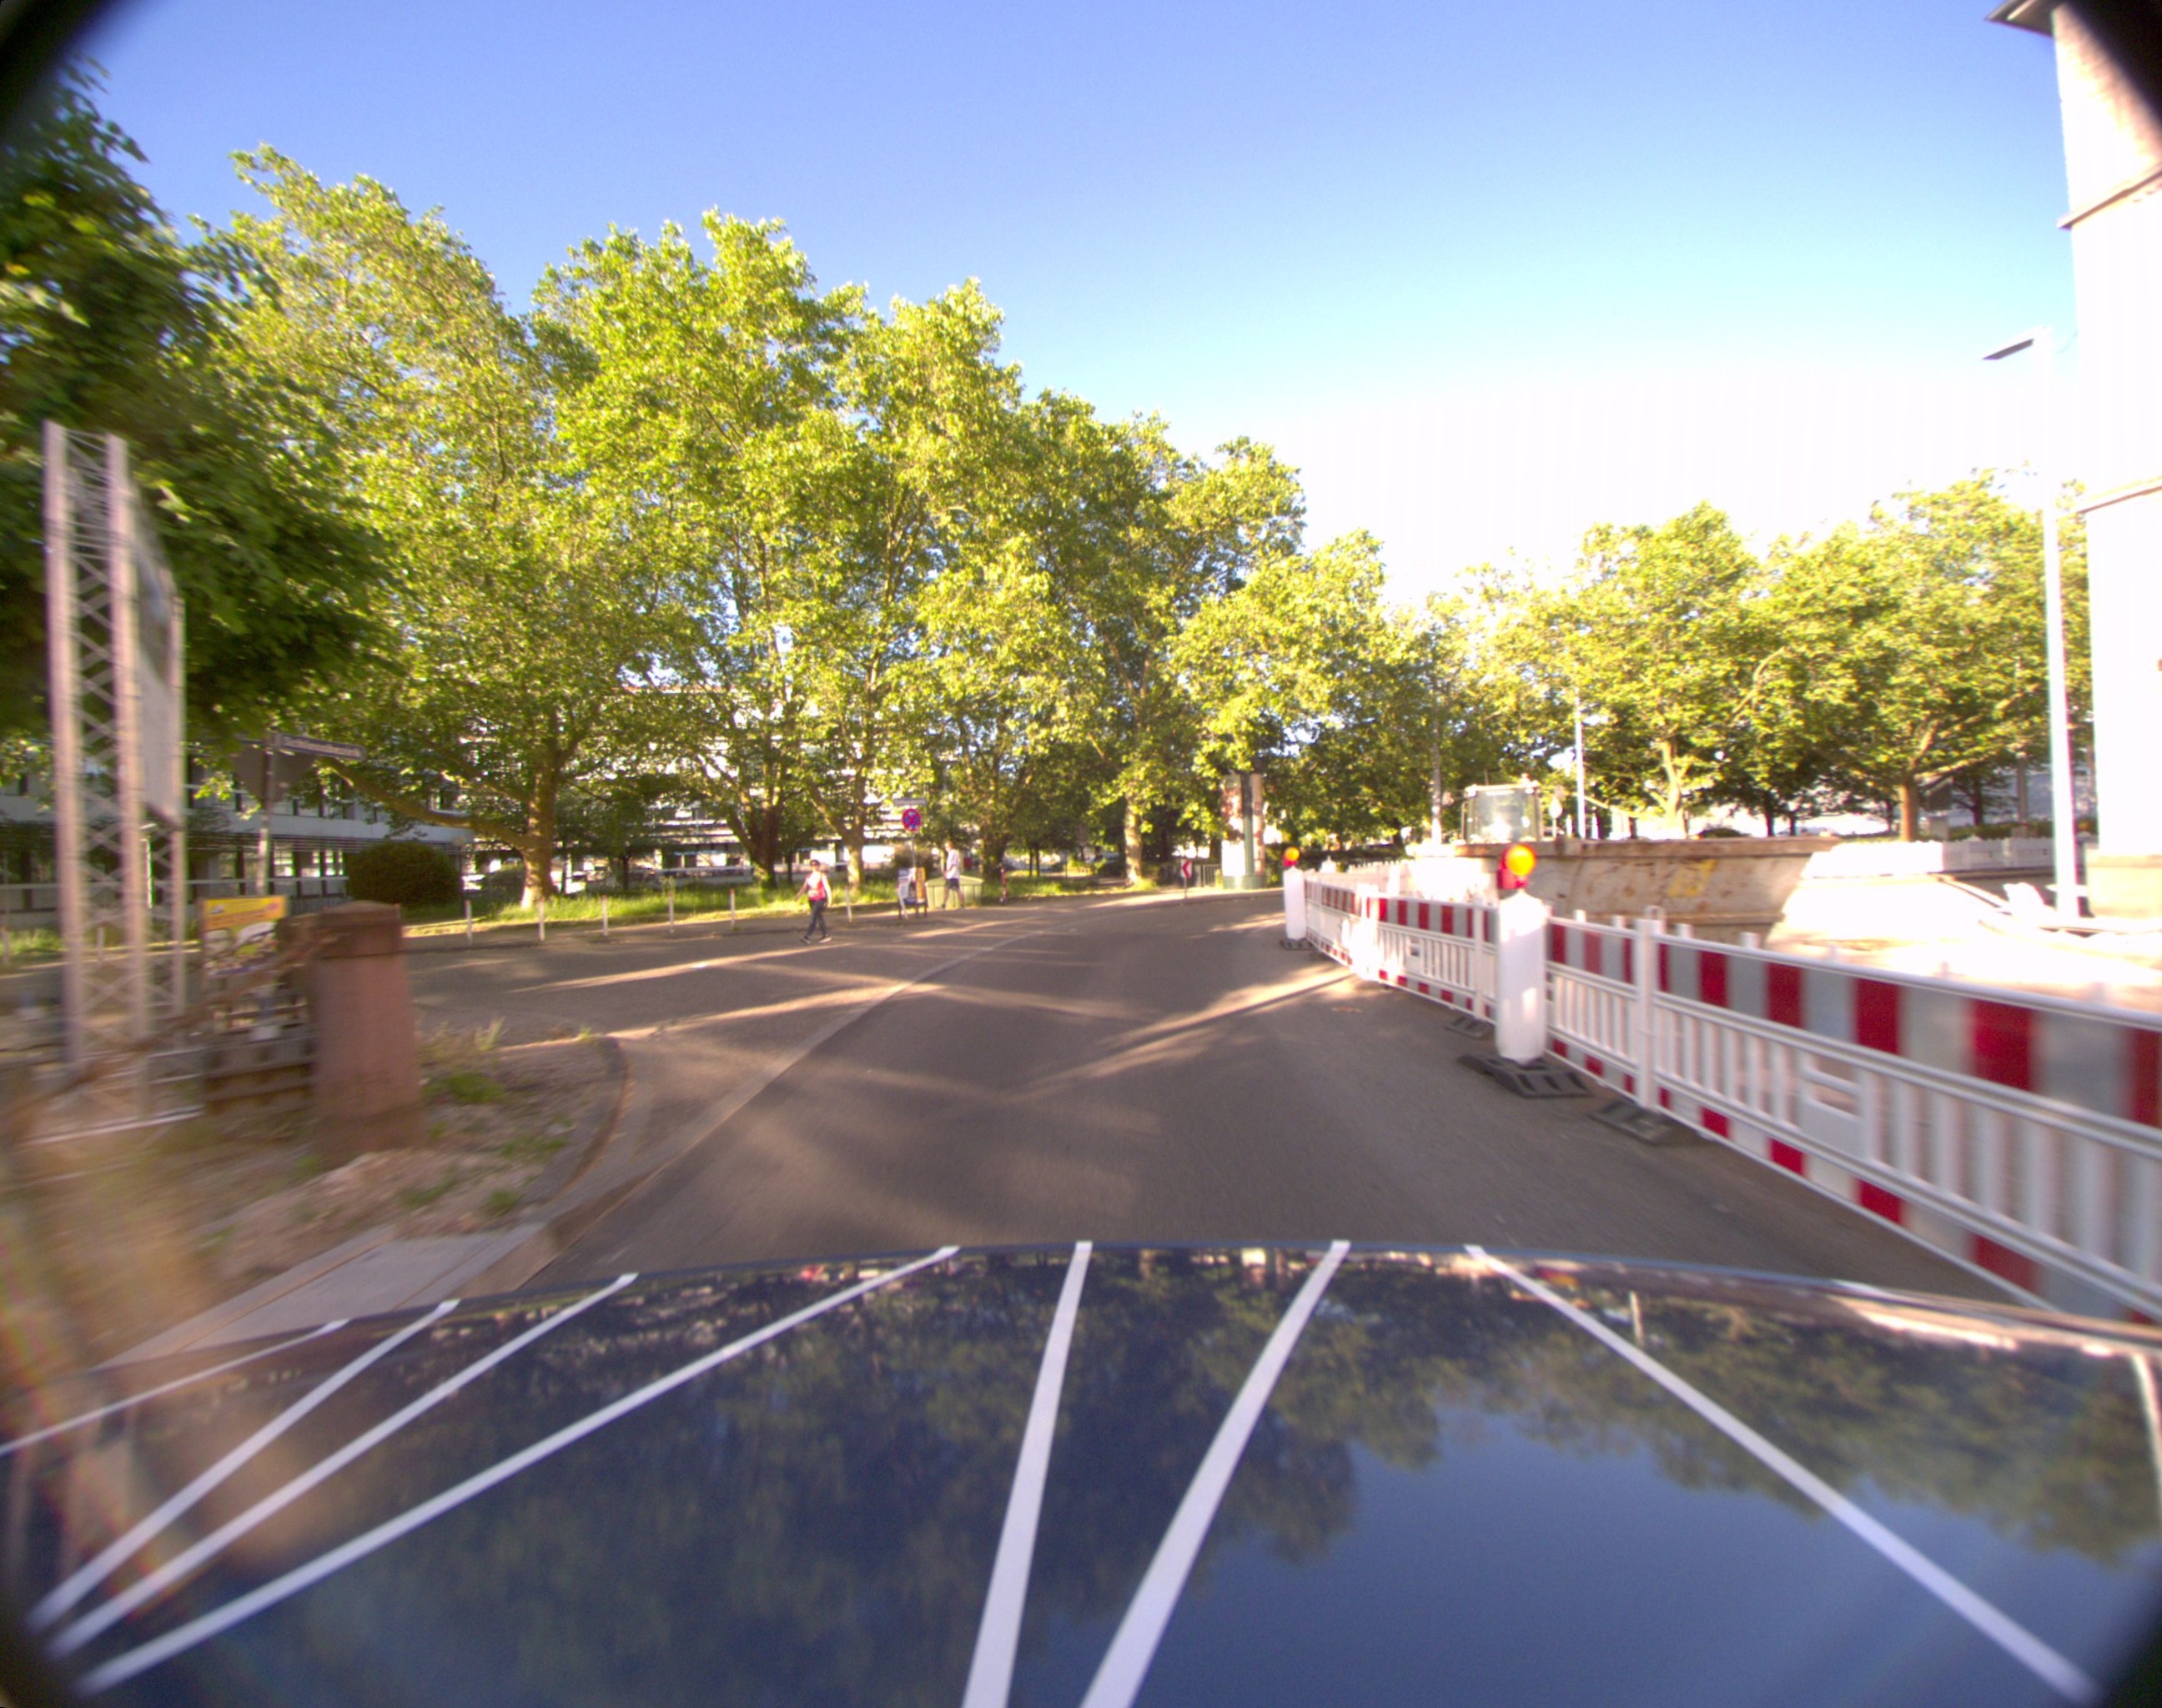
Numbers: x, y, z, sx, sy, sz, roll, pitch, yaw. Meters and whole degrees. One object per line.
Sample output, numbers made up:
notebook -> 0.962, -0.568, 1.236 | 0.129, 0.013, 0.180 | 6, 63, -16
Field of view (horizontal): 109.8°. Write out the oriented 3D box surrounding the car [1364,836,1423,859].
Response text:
car -> 24.526, -0.505, 59.654 | 4.000, 1.616, 1.552 | -2, -1, -9

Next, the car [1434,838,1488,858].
car -> 34.730, -0.549, 69.404 | 4.000, 1.616, 1.923 | -2, -1, -9

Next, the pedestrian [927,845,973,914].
pedestrian -> -3.610, 0.689, 20.862 | 1.134, 1.802, 0.747 | -2, -1, -14

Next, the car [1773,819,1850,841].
car -> 66.951, -2.149, 69.766 | 2.110, 1.818, 4.715 | -2, 1, -12

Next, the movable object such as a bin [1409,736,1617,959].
movable object such as a bin -> 7.811, -0.156, 13.423 | 2.560, 3.014, 5.942 | -1, 1, 34

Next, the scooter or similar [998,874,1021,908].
scooter or similar -> -2.114, 1.073, 22.334 | 0.420, 0.909, 1.148 | -4, 2, -17

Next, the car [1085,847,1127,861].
car -> 2.973, -0.045, 90.215 | 4.657, 1.466, 2.013 | -2, -1, -9

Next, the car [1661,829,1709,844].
car -> 63.978, -1.856, 80.531 | 1.630, 1.476, 3.846 | -2, 1, -12

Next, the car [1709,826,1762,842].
car -> 65.400, -1.978, 75.995 | 1.630, 1.476, 3.846 | -2, 1, -12

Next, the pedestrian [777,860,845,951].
pedestrian -> -5.096, 0.942, 14.331 | 0.941, 1.614, 0.708 | -3, 1, -41
